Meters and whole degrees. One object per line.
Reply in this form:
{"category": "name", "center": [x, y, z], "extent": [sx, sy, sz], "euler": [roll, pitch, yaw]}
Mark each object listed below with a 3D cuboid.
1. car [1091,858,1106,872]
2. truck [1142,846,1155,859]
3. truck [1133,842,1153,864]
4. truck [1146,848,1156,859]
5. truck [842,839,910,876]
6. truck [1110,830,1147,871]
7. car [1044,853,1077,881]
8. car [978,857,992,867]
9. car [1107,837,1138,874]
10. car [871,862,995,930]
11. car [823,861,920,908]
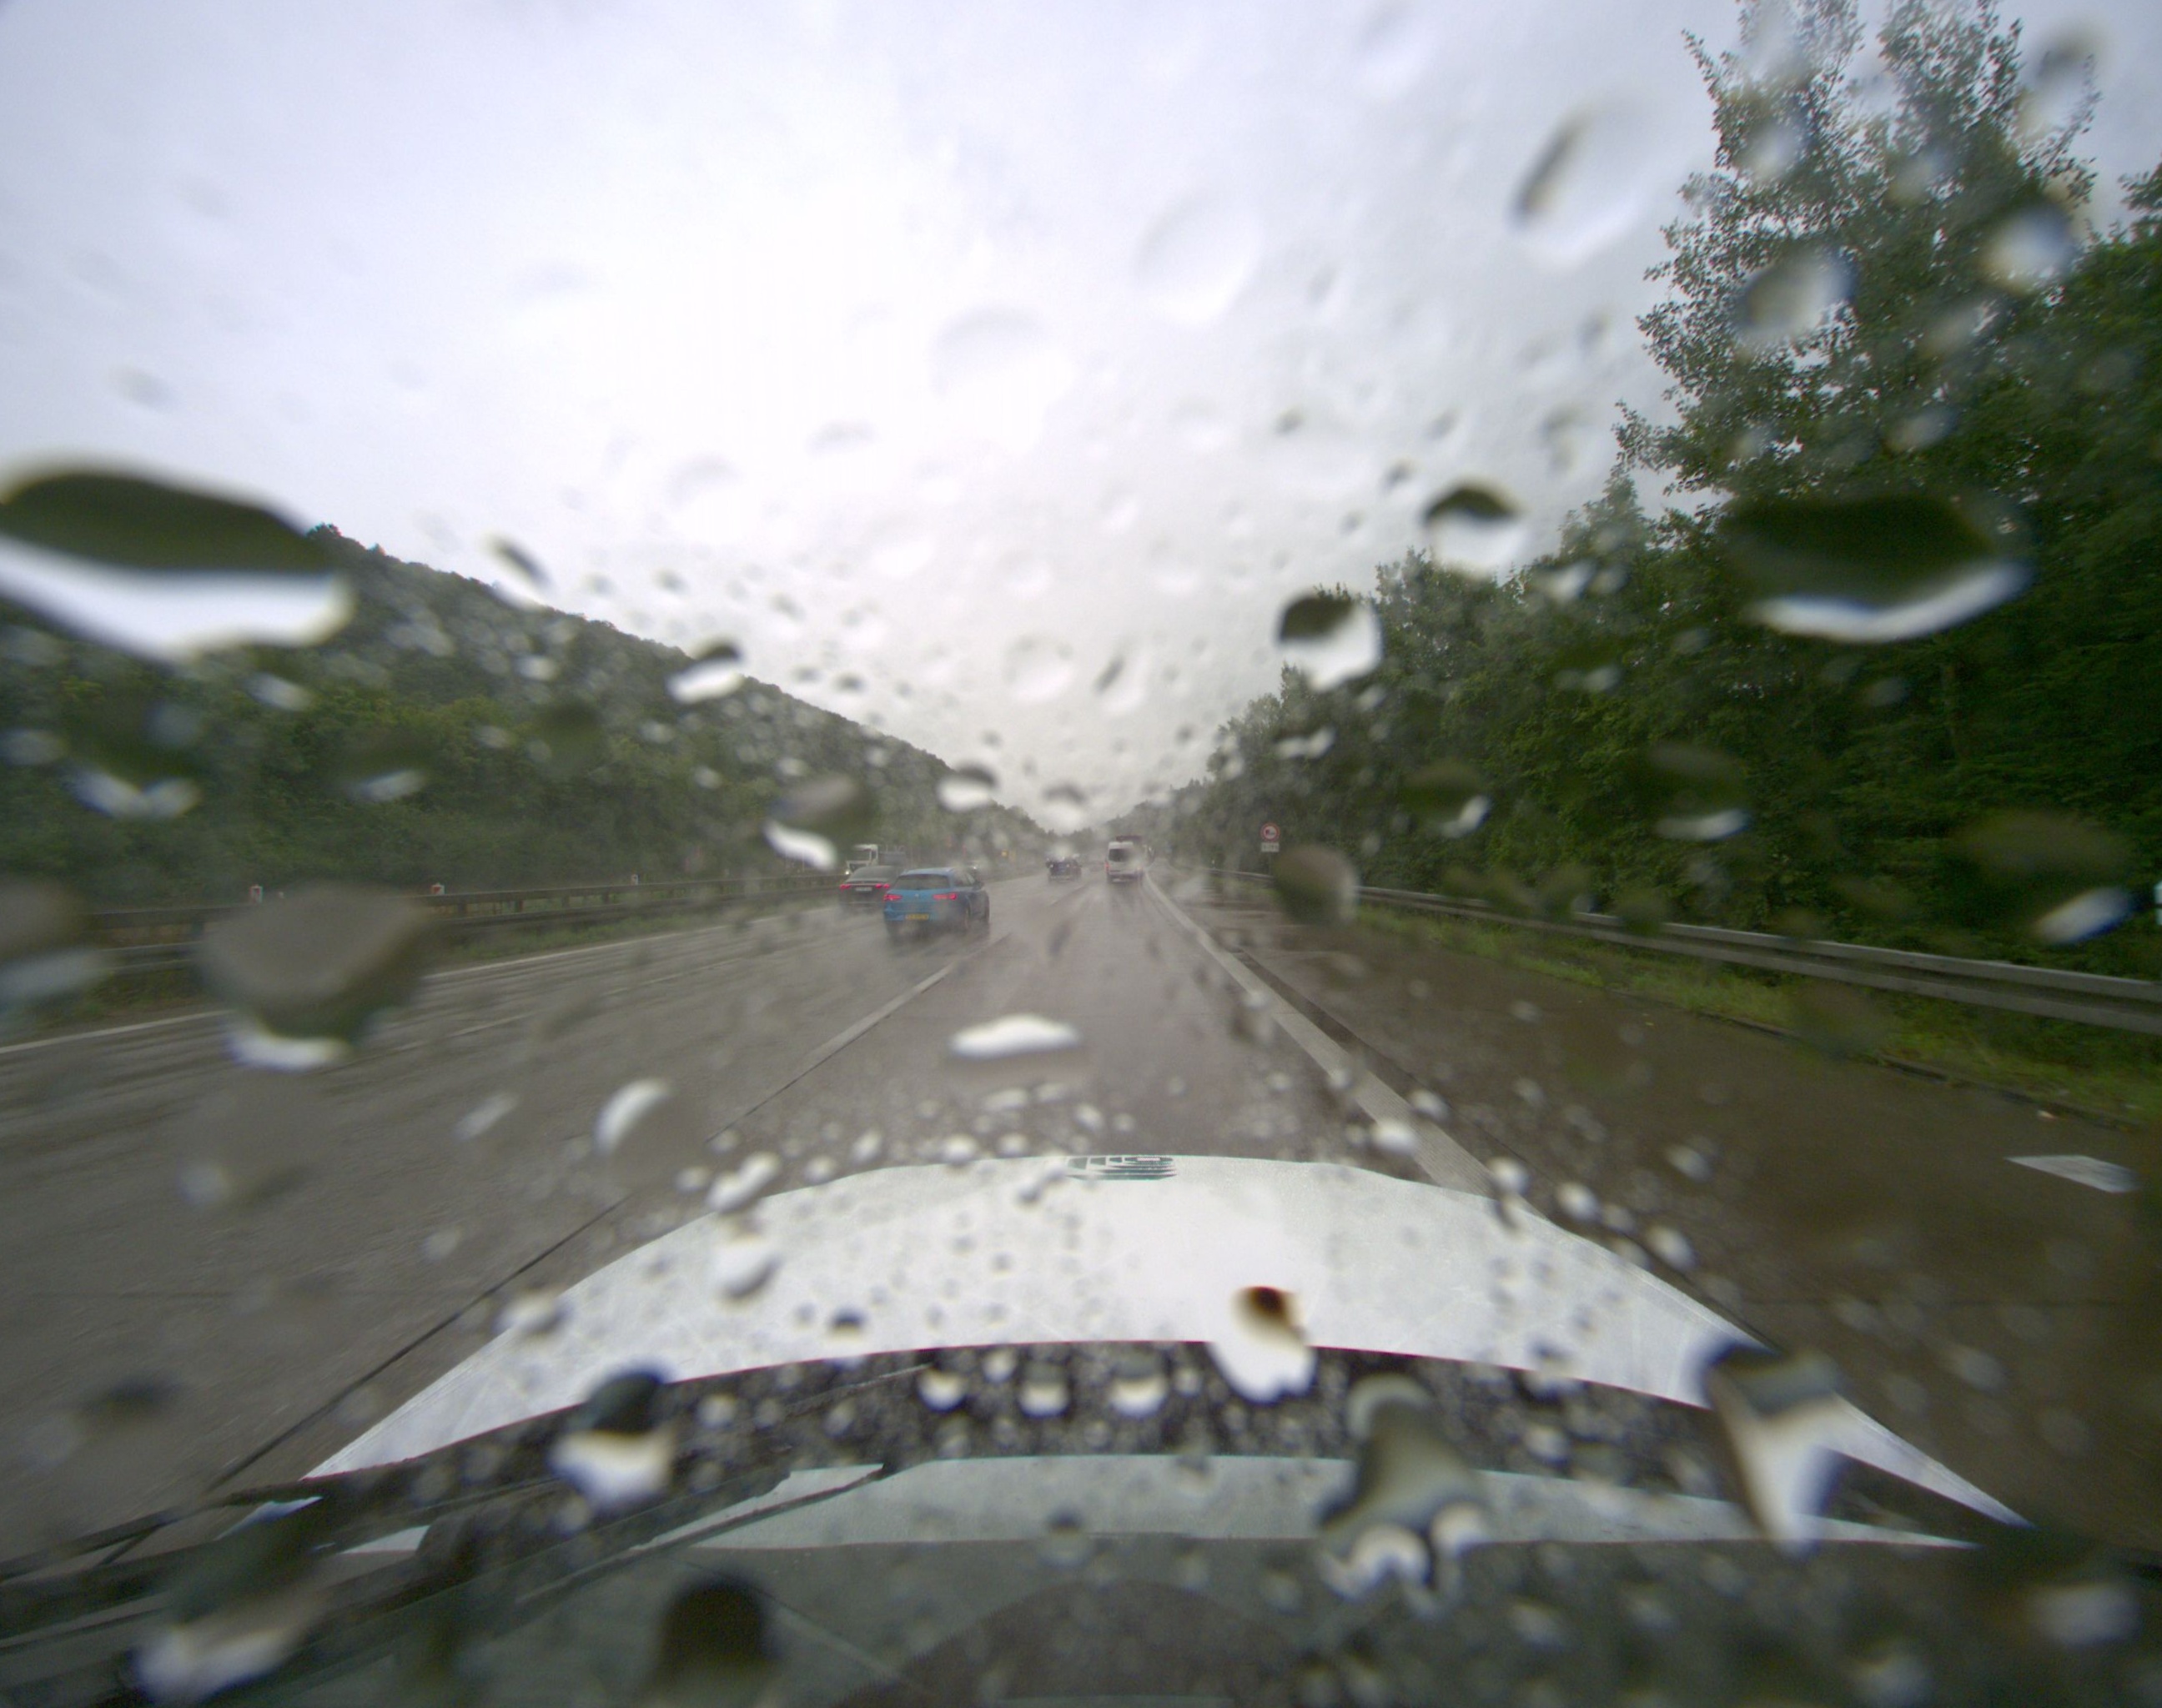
{"category": "car", "center": [2.094, 1.332, 97.738], "extent": [1.607, 1.628, 4.193], "euler": [0, 0, 4]}
{"category": "truck", "center": [15.929, -0.251, 191.479], "extent": [2.572, 2.981, 9.043], "euler": [0, 0, 7]}
{"category": "truck", "center": [11.585, -0.141, 151.544], "extent": [3.074, 3.910, 9.073], "euler": [0, -1, 8]}
{"category": "truck", "center": [19.520, -0.038, 228.176], "extent": [2.574, 2.981, 9.035], "euler": [0, 0, 4]}
{"category": "truck", "center": [-19.697, 0.326, 79.189], "extent": [2.761, 3.315, 11.530], "euler": [0, 0, 5]}
{"category": "truck", "center": [5.127, -0.475, 86.144], "extent": [3.369, 3.967, 8.679], "euler": [-4, 1, 5]}
{"category": "car", "center": [-1.377, 0.871, 55.758], "extent": [1.860, 1.810, 4.193], "euler": [0, 0, 4]}
{"category": "car", "center": [-17.330, 1.426, 146.945], "extent": [1.986, 1.662, 4.002], "euler": [-1, 0, 2]}
{"category": "car", "center": [2.763, 0.112, 53.559], "extent": [1.891, 2.334, 5.256], "euler": [0, 0, 4]}
{"category": "car", "center": [-3.191, 0.859, 18.450], "extent": [1.849, 1.339, 4.353], "euler": [0, 0, 2]}
{"category": "car", "center": [-6.604, 0.913, 26.125], "extent": [1.849, 1.339, 4.353], "euler": [0, 0, 2]}
